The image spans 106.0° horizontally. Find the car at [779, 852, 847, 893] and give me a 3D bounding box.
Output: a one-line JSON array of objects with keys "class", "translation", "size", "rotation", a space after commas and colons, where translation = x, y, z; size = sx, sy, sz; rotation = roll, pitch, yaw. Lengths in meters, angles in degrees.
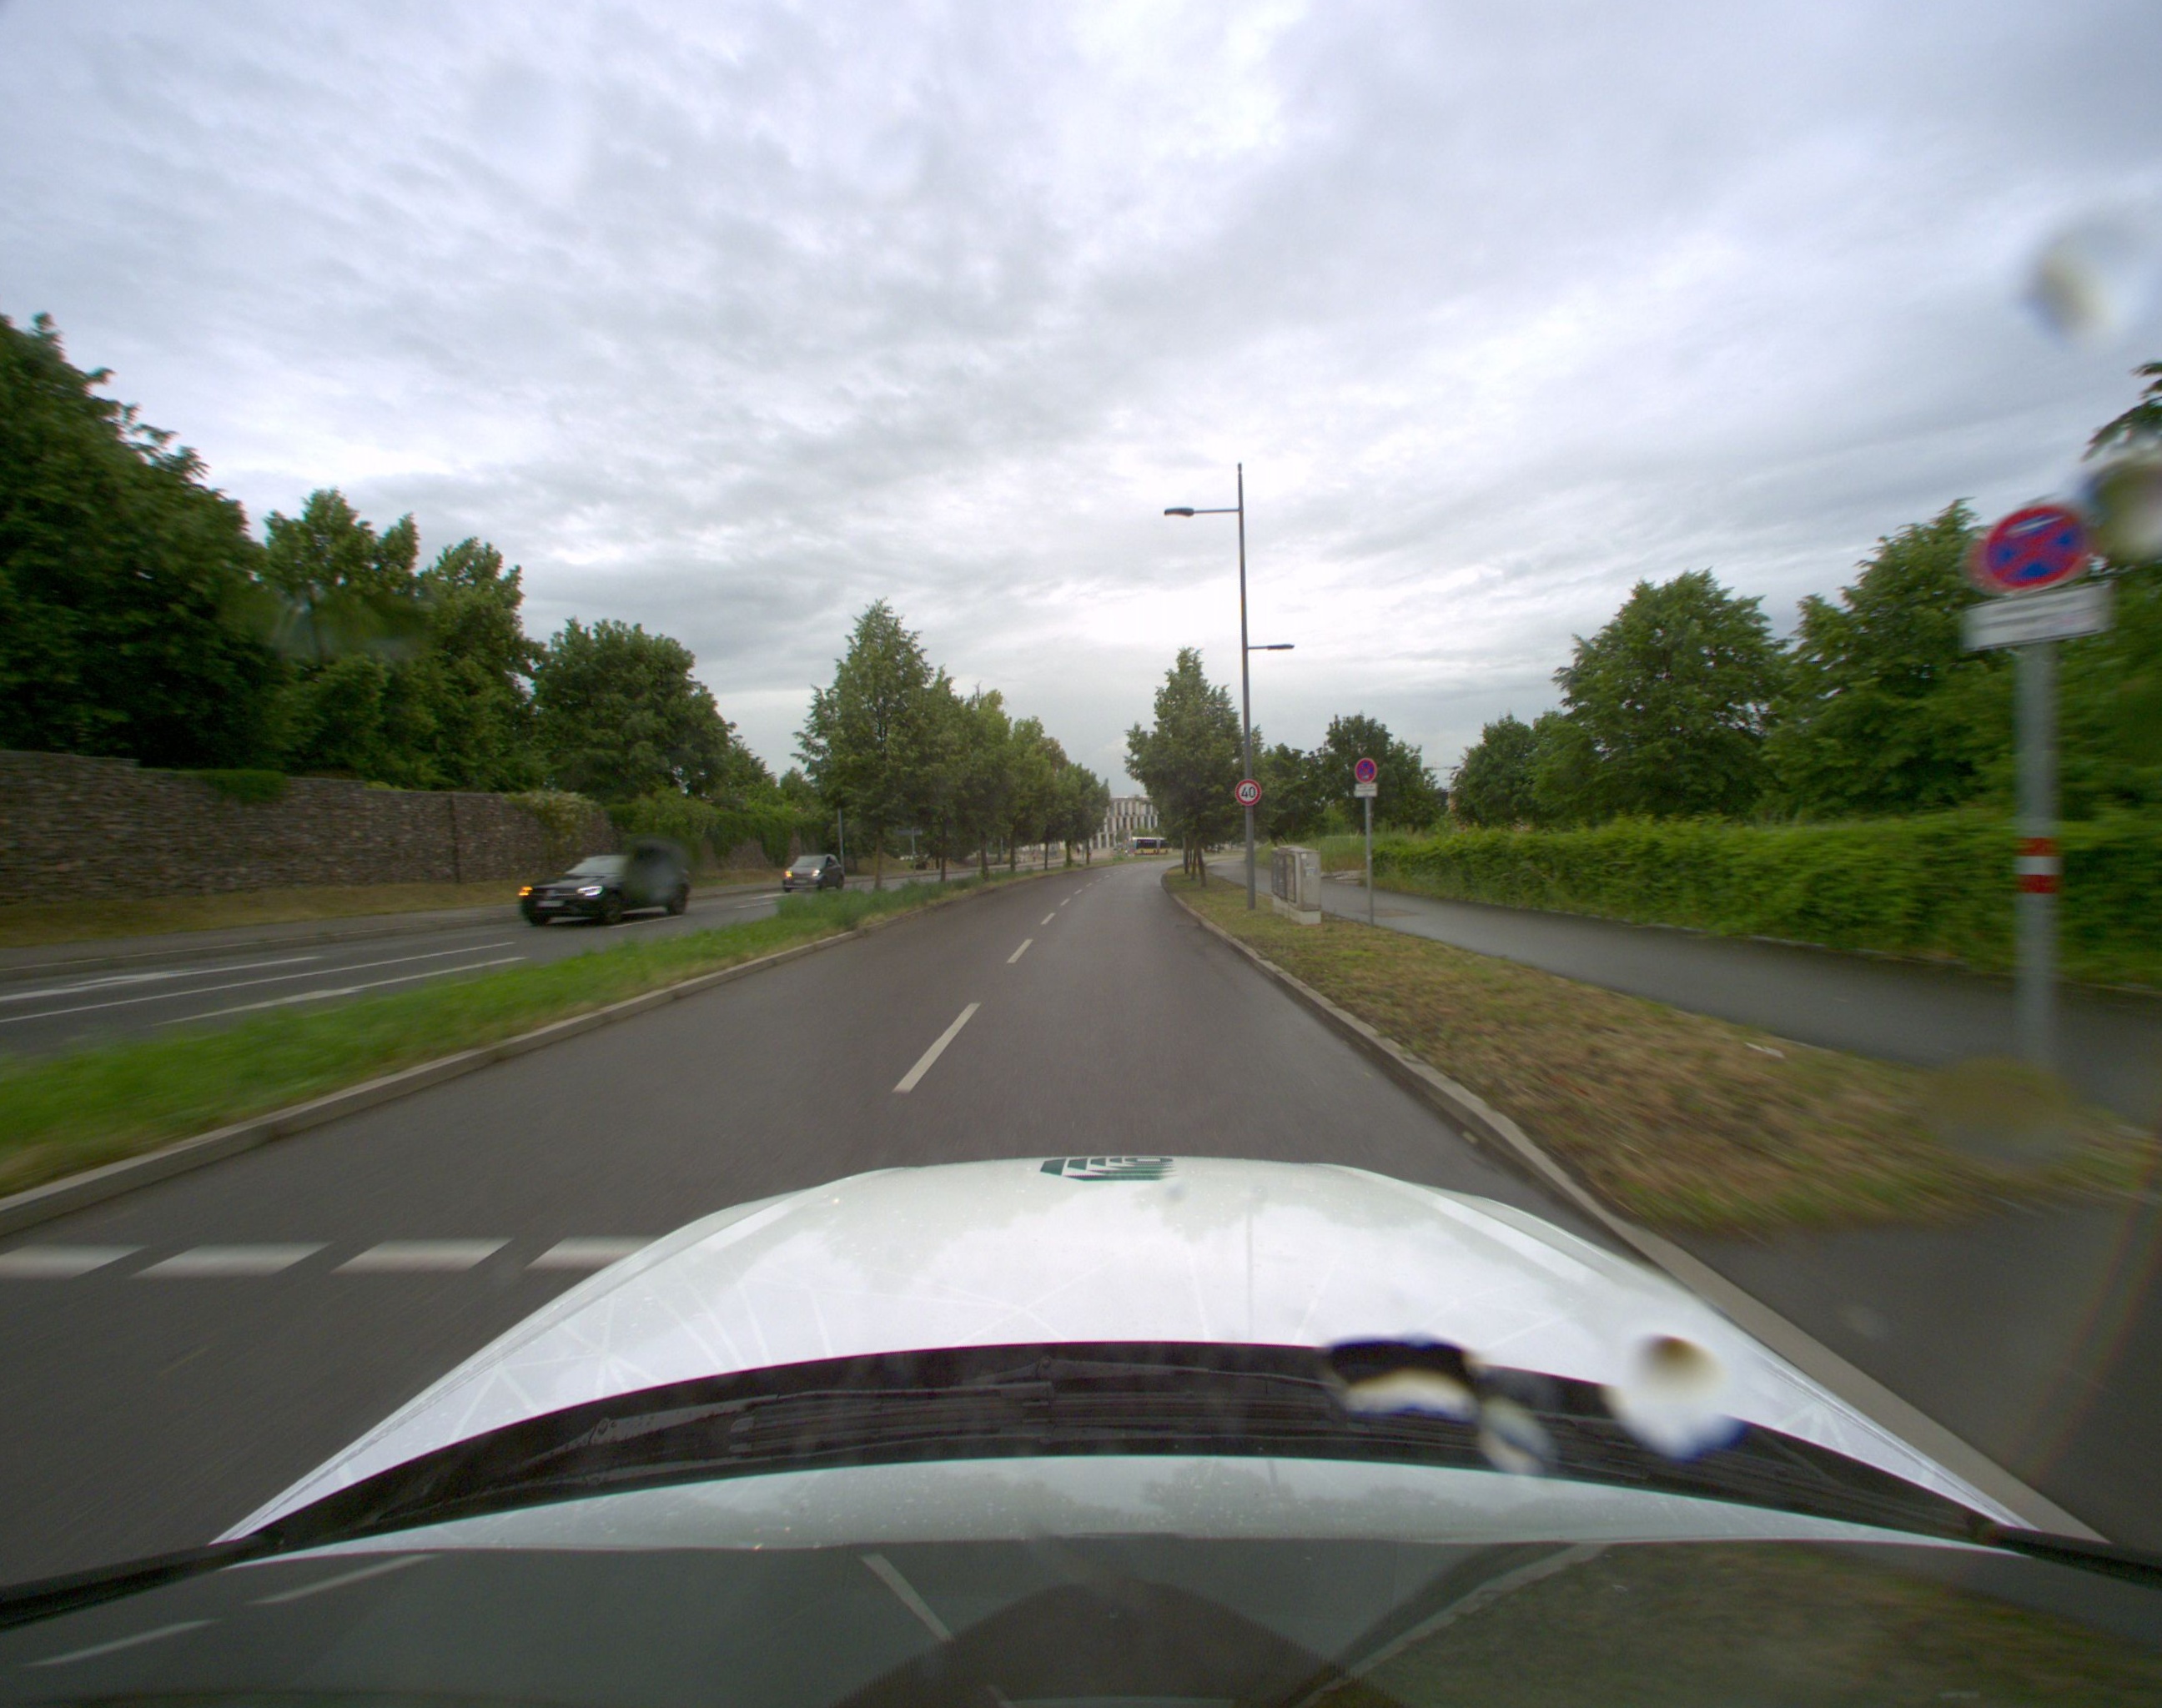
[{"class": "car", "translation": [-11.068, 0.731, 33.781], "size": [1.679, 1.539, 2.919], "rotation": [-1, 1, 3]}]

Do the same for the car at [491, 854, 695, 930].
[{"class": "car", "translation": [-11.421, 0.800, 19.560], "size": [1.874, 1.595, 4.769], "rotation": [0, 0, 2]}]

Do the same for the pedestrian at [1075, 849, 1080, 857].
[{"class": "pedestrian", "translation": [-0.626, -0.197, 145.842], "size": [0.679, 1.524, 0.720], "rotation": [-1, -1, 4]}]

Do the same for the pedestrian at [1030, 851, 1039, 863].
[{"class": "pedestrian", "translation": [-6.096, 0.412, 106.459], "size": [0.808, 1.621, 0.939], "rotation": [-1, -1, 14]}]

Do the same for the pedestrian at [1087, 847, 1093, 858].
[{"class": "pedestrian", "translation": [1.377, -0.200, 123.399], "size": [0.832, 1.573, 0.718], "rotation": [-1, -1, -3]}]

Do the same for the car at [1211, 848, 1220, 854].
[{"class": "car", "translation": [33.458, -0.772, 202.267], "size": [1.464, 1.494, 2.545], "rotation": [-1, -1, 27]}]

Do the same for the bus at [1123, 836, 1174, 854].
[{"class": "bus", "translation": [13.780, -1.654, 164.152], "size": [2.758, 3.357, 18.338], "rotation": [-1, -1, 29]}]
